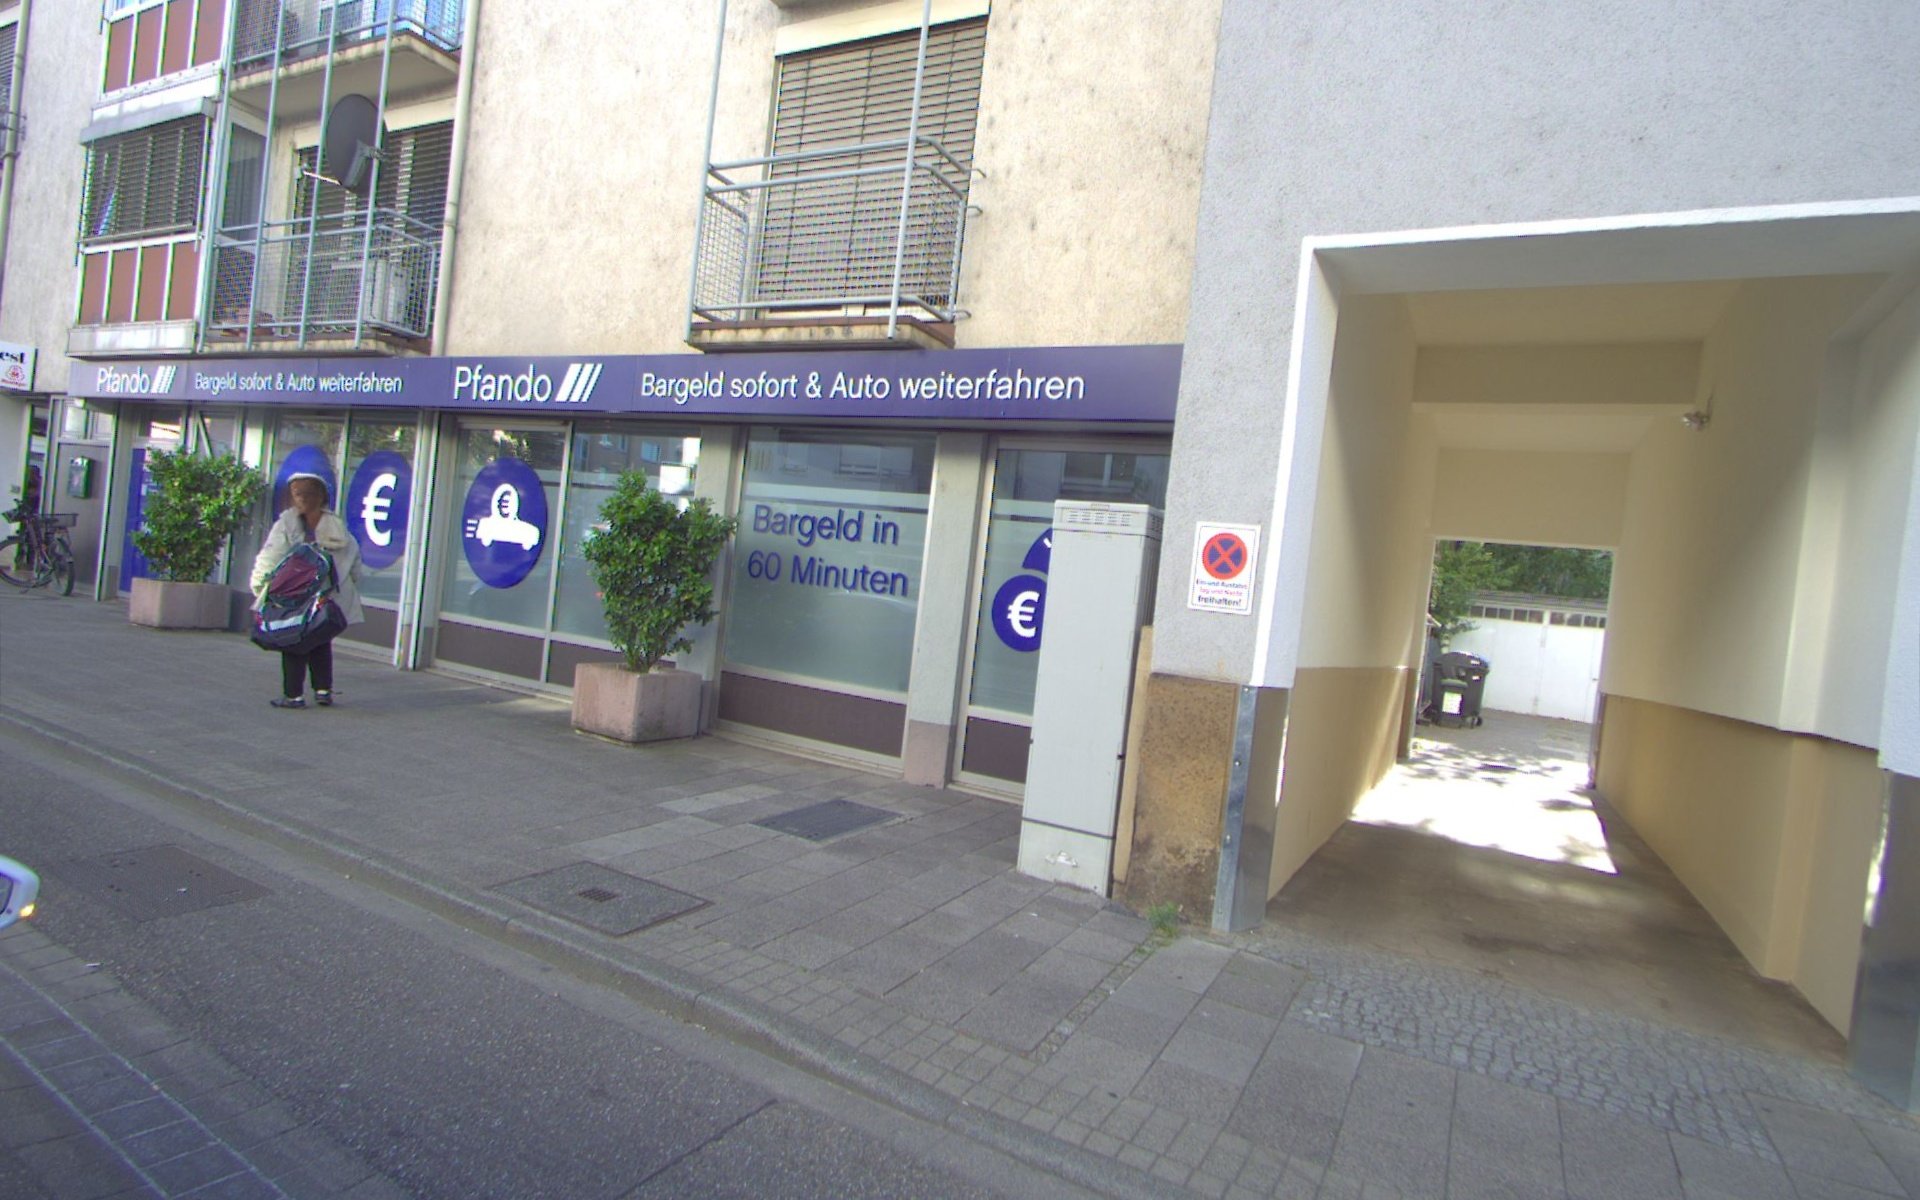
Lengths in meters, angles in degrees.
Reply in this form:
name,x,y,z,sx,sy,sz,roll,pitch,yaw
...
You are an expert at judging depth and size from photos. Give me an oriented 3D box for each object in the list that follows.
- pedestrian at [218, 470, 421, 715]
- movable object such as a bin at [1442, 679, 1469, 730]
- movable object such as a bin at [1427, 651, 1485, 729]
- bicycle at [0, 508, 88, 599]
name,x,y,z,sx,sy,sz,roll,pitch,yaw
pedestrian,-4.576,-0.035,7.218,0.738,1.611,0.827,6,-1,31
movable object such as a bin,9.552,2.010,19.374,0.365,0.920,0.420,7,2,28
movable object such as a bin,9.910,1.785,20.087,0.873,1.411,0.758,7,2,28
bicycle,-11.863,-0.612,12.847,1.678,1.010,0.543,6,-1,32
